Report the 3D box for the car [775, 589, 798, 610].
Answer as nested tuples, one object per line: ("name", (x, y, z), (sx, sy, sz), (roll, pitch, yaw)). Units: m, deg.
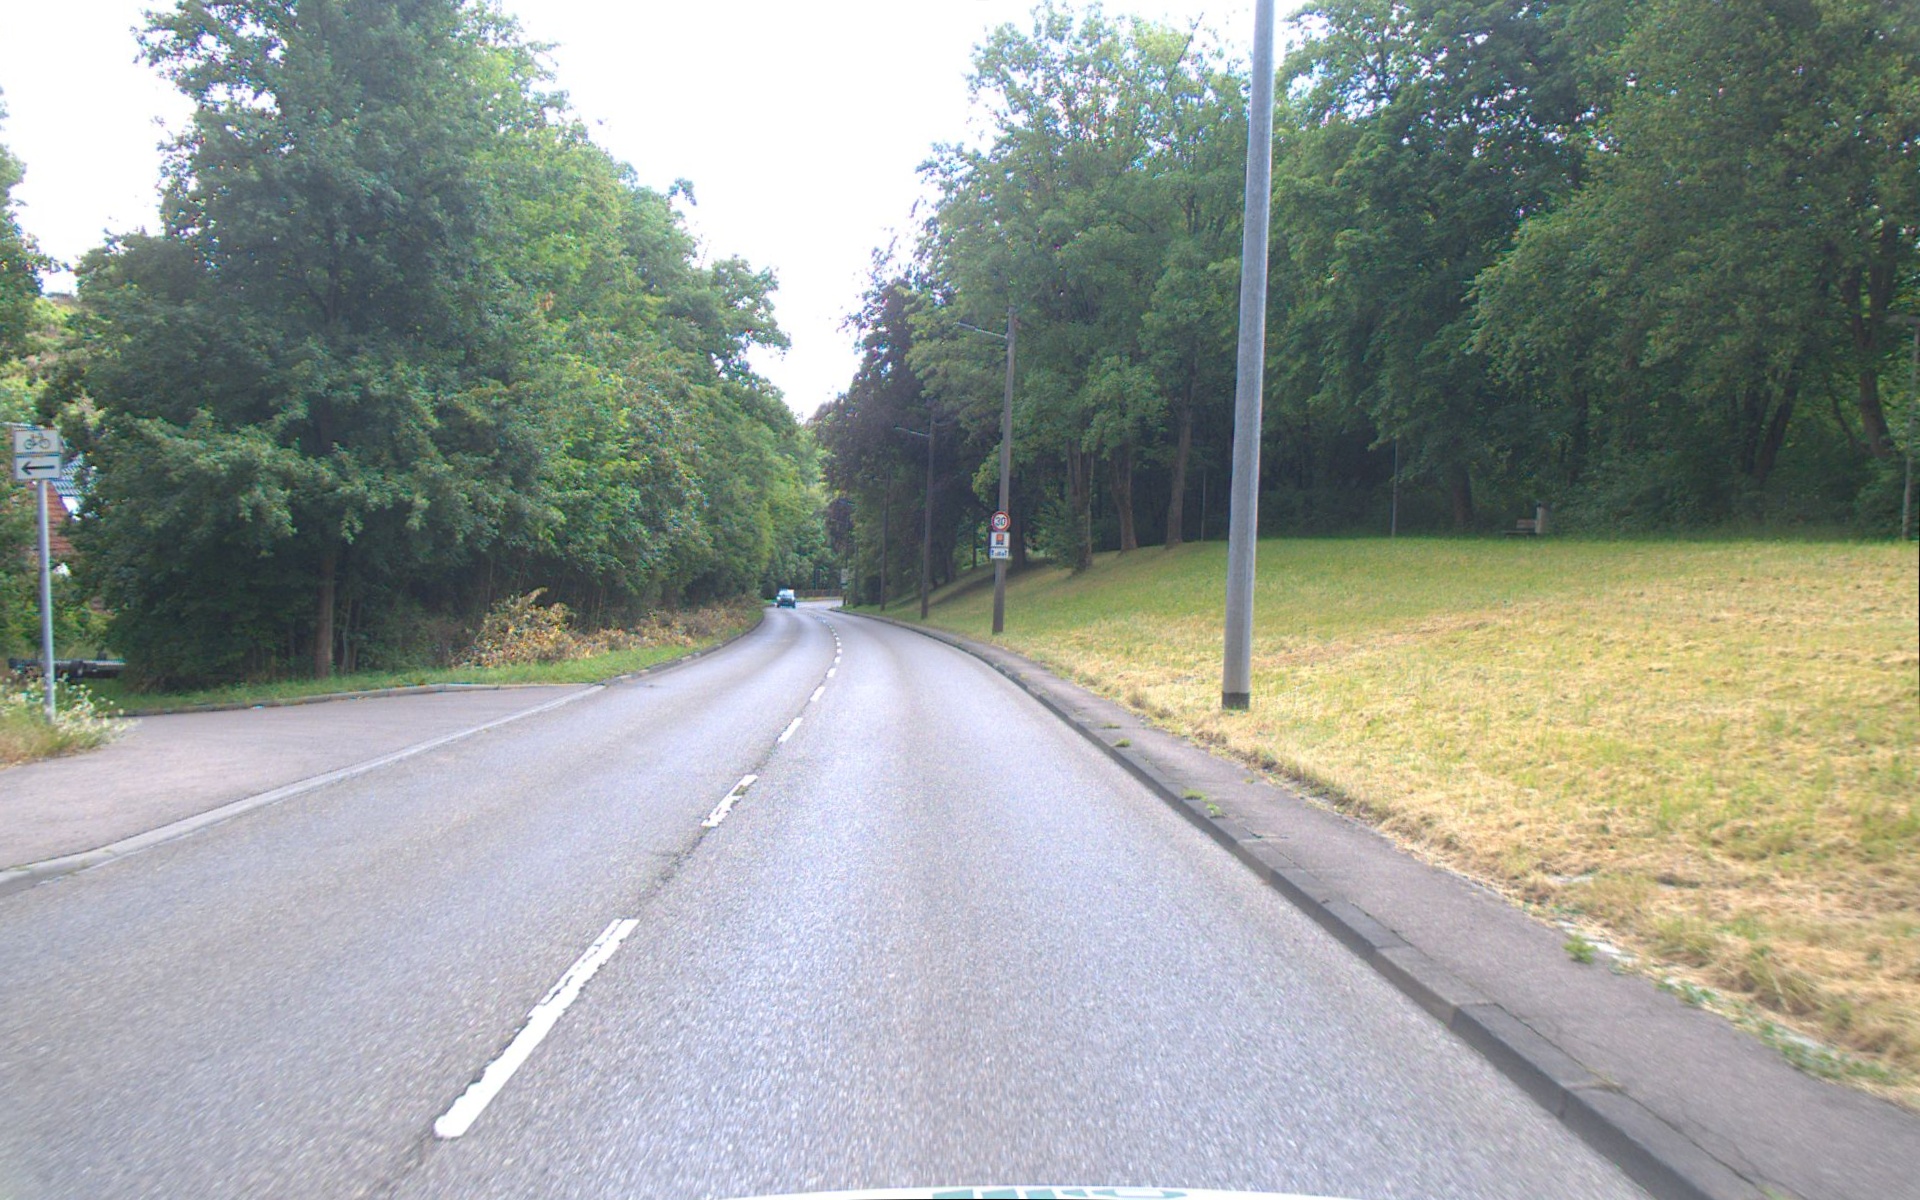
("car", (-17.929, -0.043, 171.228), (1.953, 2.049, 3.999), (3, -1, -1))
